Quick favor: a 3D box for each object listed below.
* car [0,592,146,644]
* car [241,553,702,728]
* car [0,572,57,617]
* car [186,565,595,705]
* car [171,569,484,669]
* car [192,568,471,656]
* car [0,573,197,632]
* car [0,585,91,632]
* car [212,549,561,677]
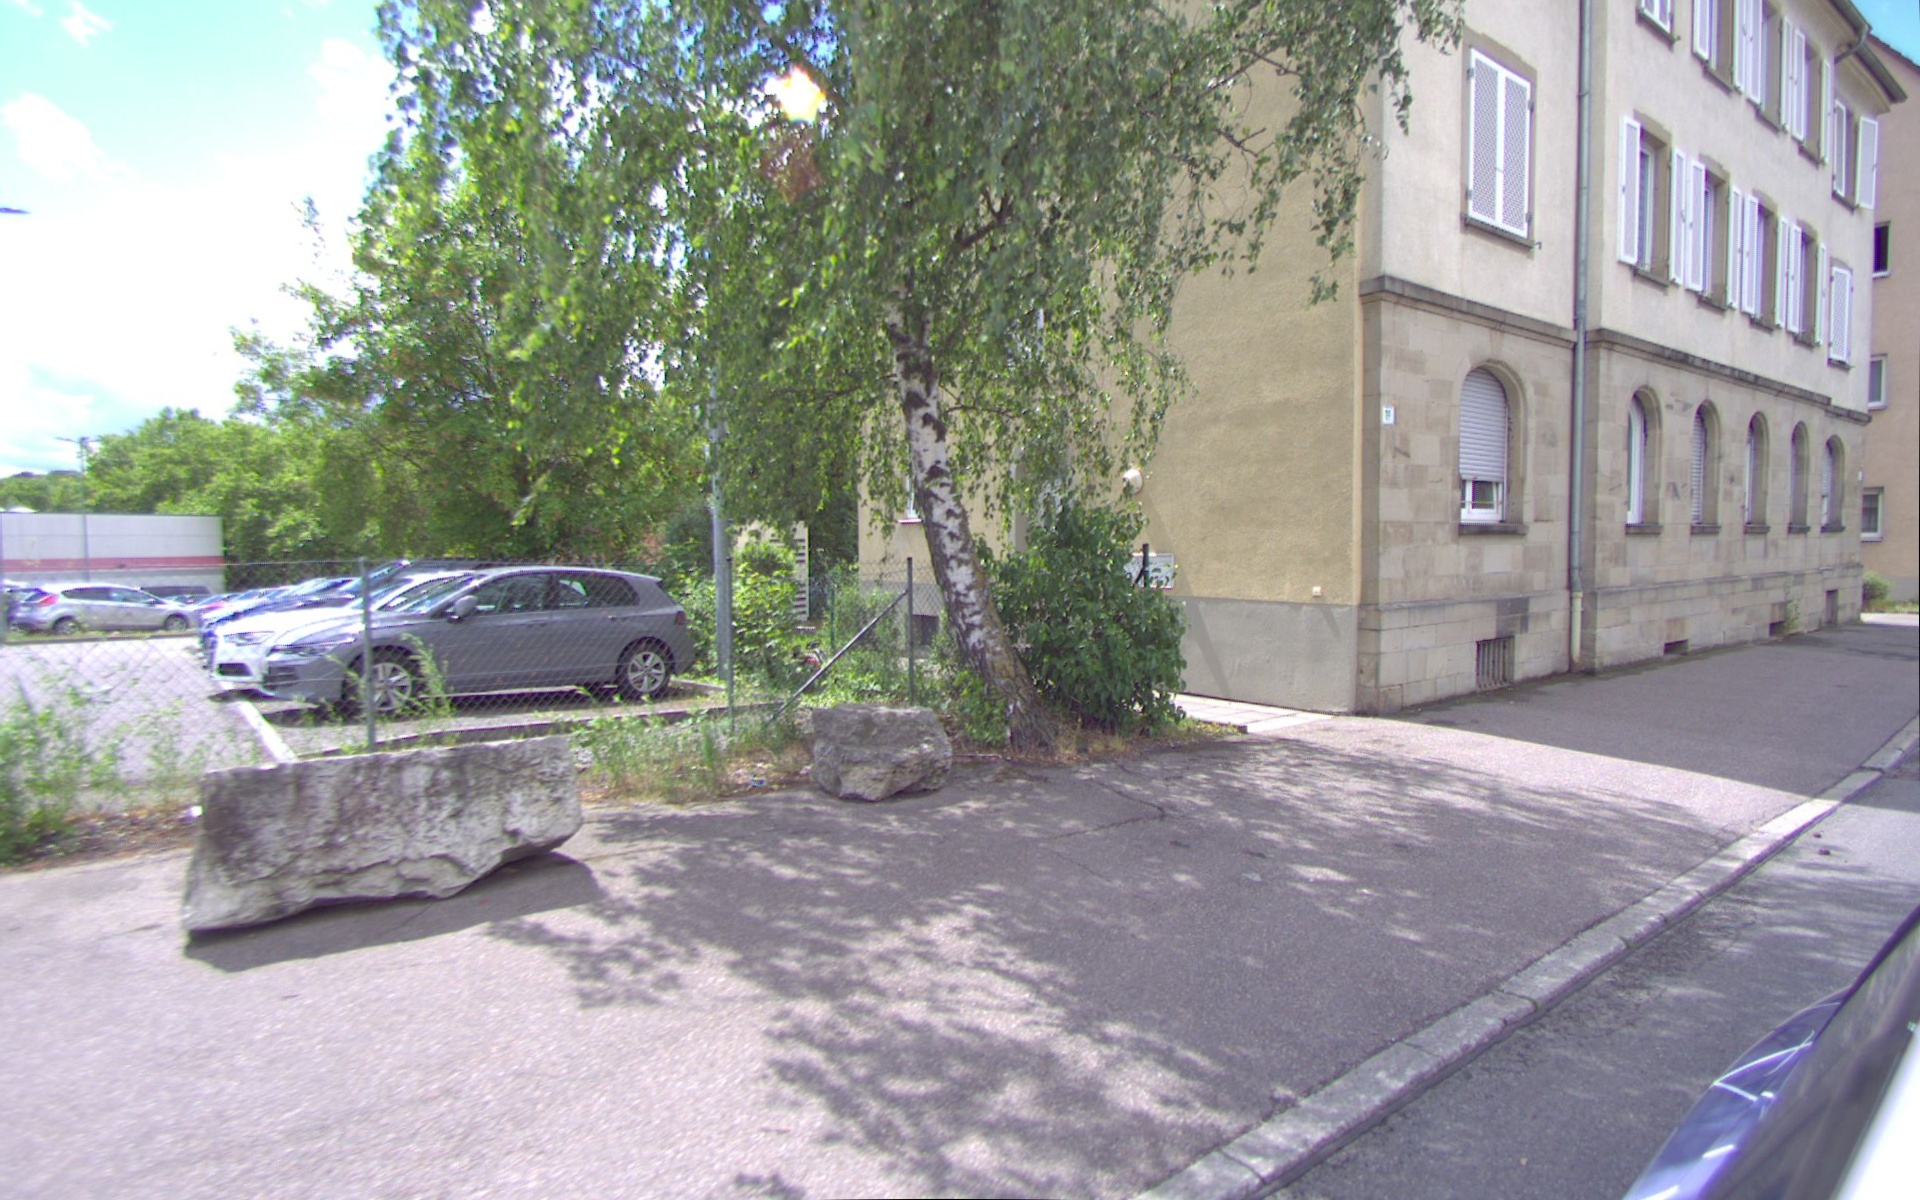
[{"bbox_3d":[-25.793,0.478,28.762,1.852,1.280,3.687,0,2,25],"label":"car"},{"bbox_3d":[-5.050,0.307,10.775,4.072,1.408,1.718,-4,1,-41],"label":"car"},{"bbox_3d":[-32.980,-0.163,33.841,1.850,1.466,3.691,0,2,23],"label":"car"},{"bbox_3d":[-7.100,0.307,12.926,1.870,1.469,4.214,1,2,44],"label":"car"},{"bbox_3d":[-10.675,0.222,17.285,1.870,1.467,4.214,1,2,44],"label":"car"},{"bbox_3d":[-11.902,0.149,19.355,1.870,1.467,4.214,1,2,44],"label":"car"},{"bbox_3d":[-23.510,0.021,27.765,1.852,1.404,3.687,0,2,25],"label":"car"},{"bbox_3d":[-28.392,0.269,29.892,1.852,1.280,3.687,0,2,25],"label":"car"},{"bbox_3d":[-8.472,0.090,15.207,1.870,1.644,4.214,1,2,44],"label":"car"}]
